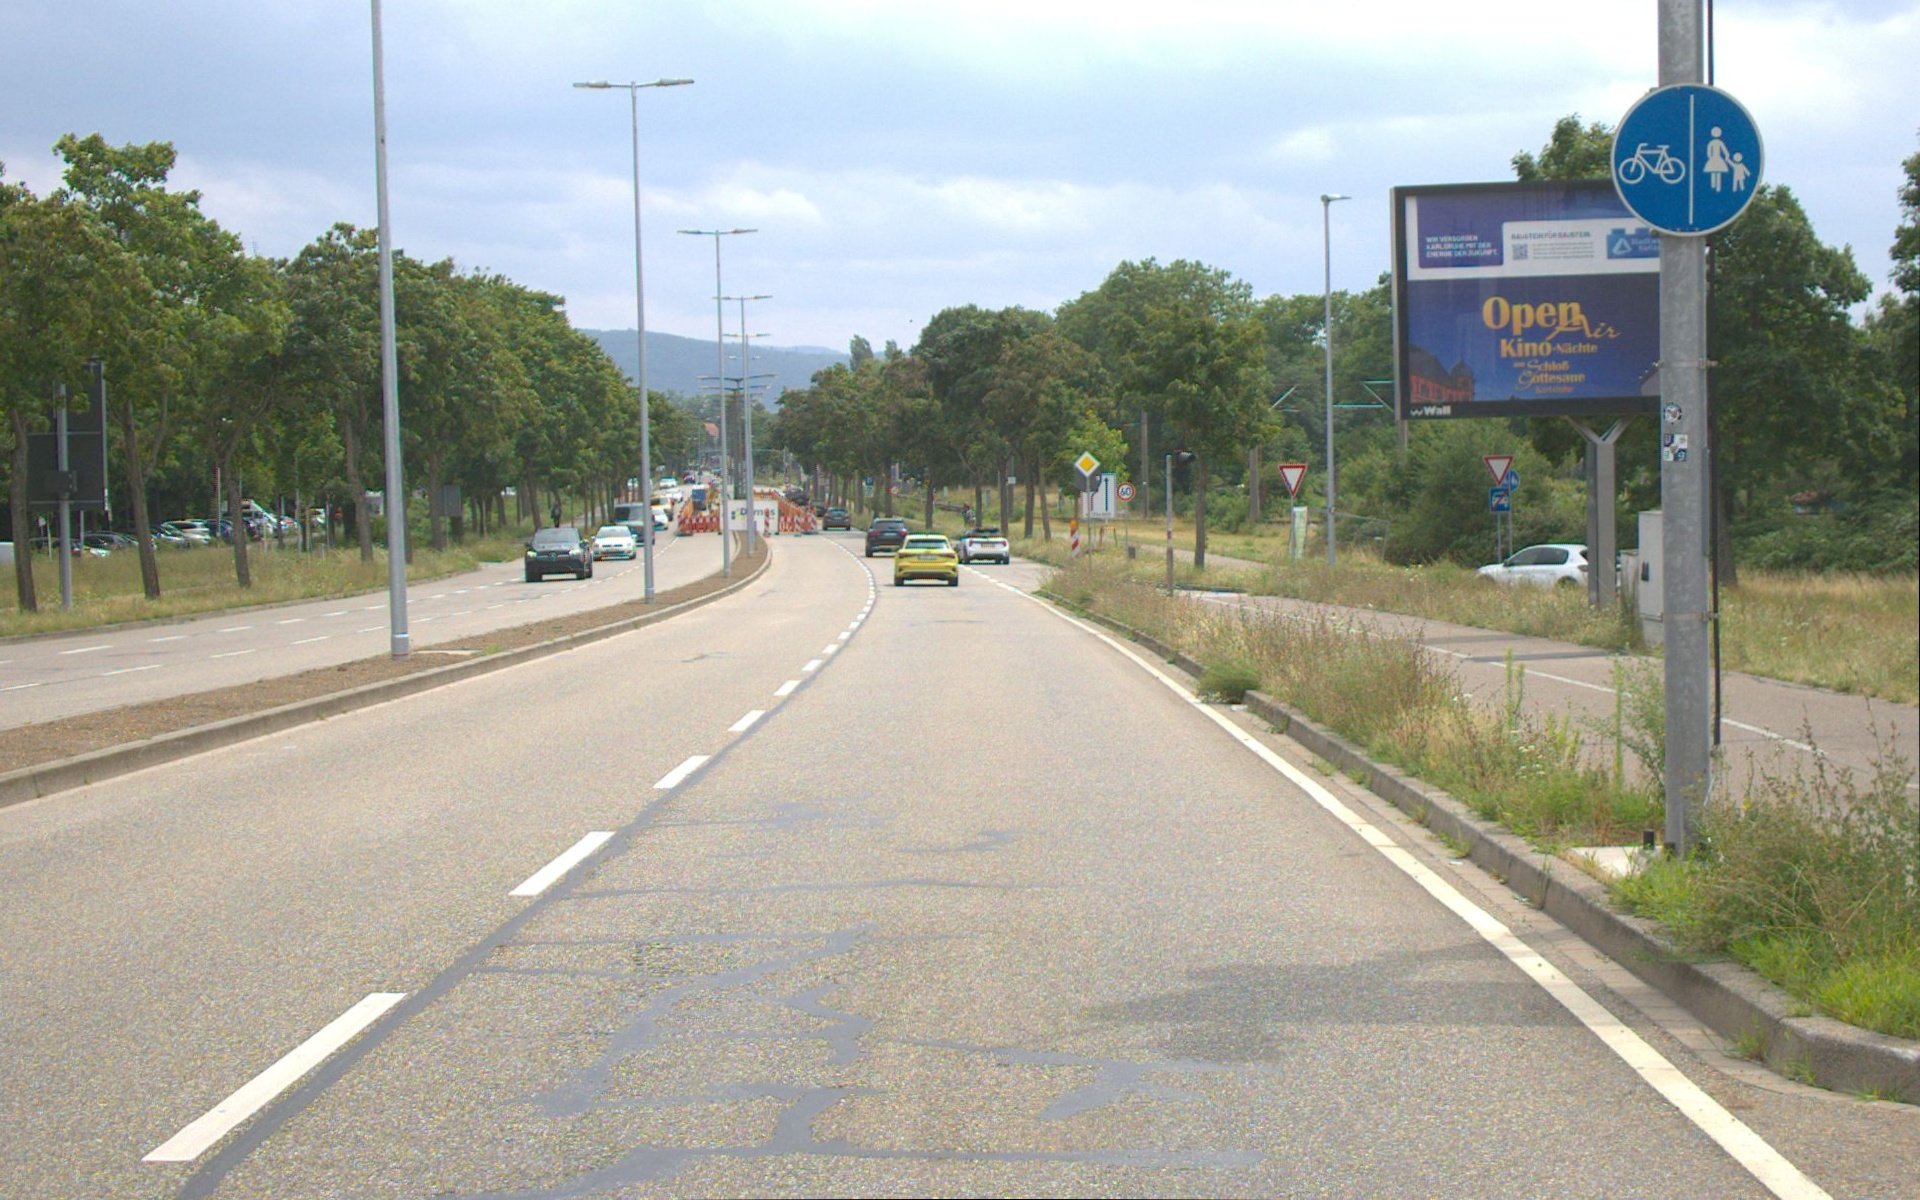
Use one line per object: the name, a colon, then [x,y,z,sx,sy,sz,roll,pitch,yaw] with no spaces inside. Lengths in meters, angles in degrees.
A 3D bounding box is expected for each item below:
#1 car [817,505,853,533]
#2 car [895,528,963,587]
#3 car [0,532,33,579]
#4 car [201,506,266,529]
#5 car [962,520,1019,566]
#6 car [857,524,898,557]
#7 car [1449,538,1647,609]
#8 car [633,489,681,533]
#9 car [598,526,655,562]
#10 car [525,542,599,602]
car: [-7.975,-5.178,219.296,2.206,1.678,4.001,-1,2,-1]
car: [-0.894,-1.215,96.993,1.793,1.556,4.001,-1,2,-2]
car: [-40.724,-1.849,142.690,3.986,1.880,1.939,-1,2,-3]
car: [-46.617,-5.297,220.618,3.772,1.421,1.966,-1,2,-1]
car: [1.169,-2.204,132.119,2.013,1.664,4.001,-1,2,-2]
car: [-3.470,-2.500,144.333,1.667,1.265,4.001,-1,2,-2]
car: [13.021,-0.614,76.233,3.997,1.459,1.768,1,3,41]
car: [-15.654,-4.603,177.766,2.095,2.193,6.005,-2,2,-2]
car: [-14.566,-2.468,150.244,1.993,1.426,4.688,-2,2,0]
car: [-13.357,-0.950,115.509,1.993,1.805,4.798,-2,2,-2]
